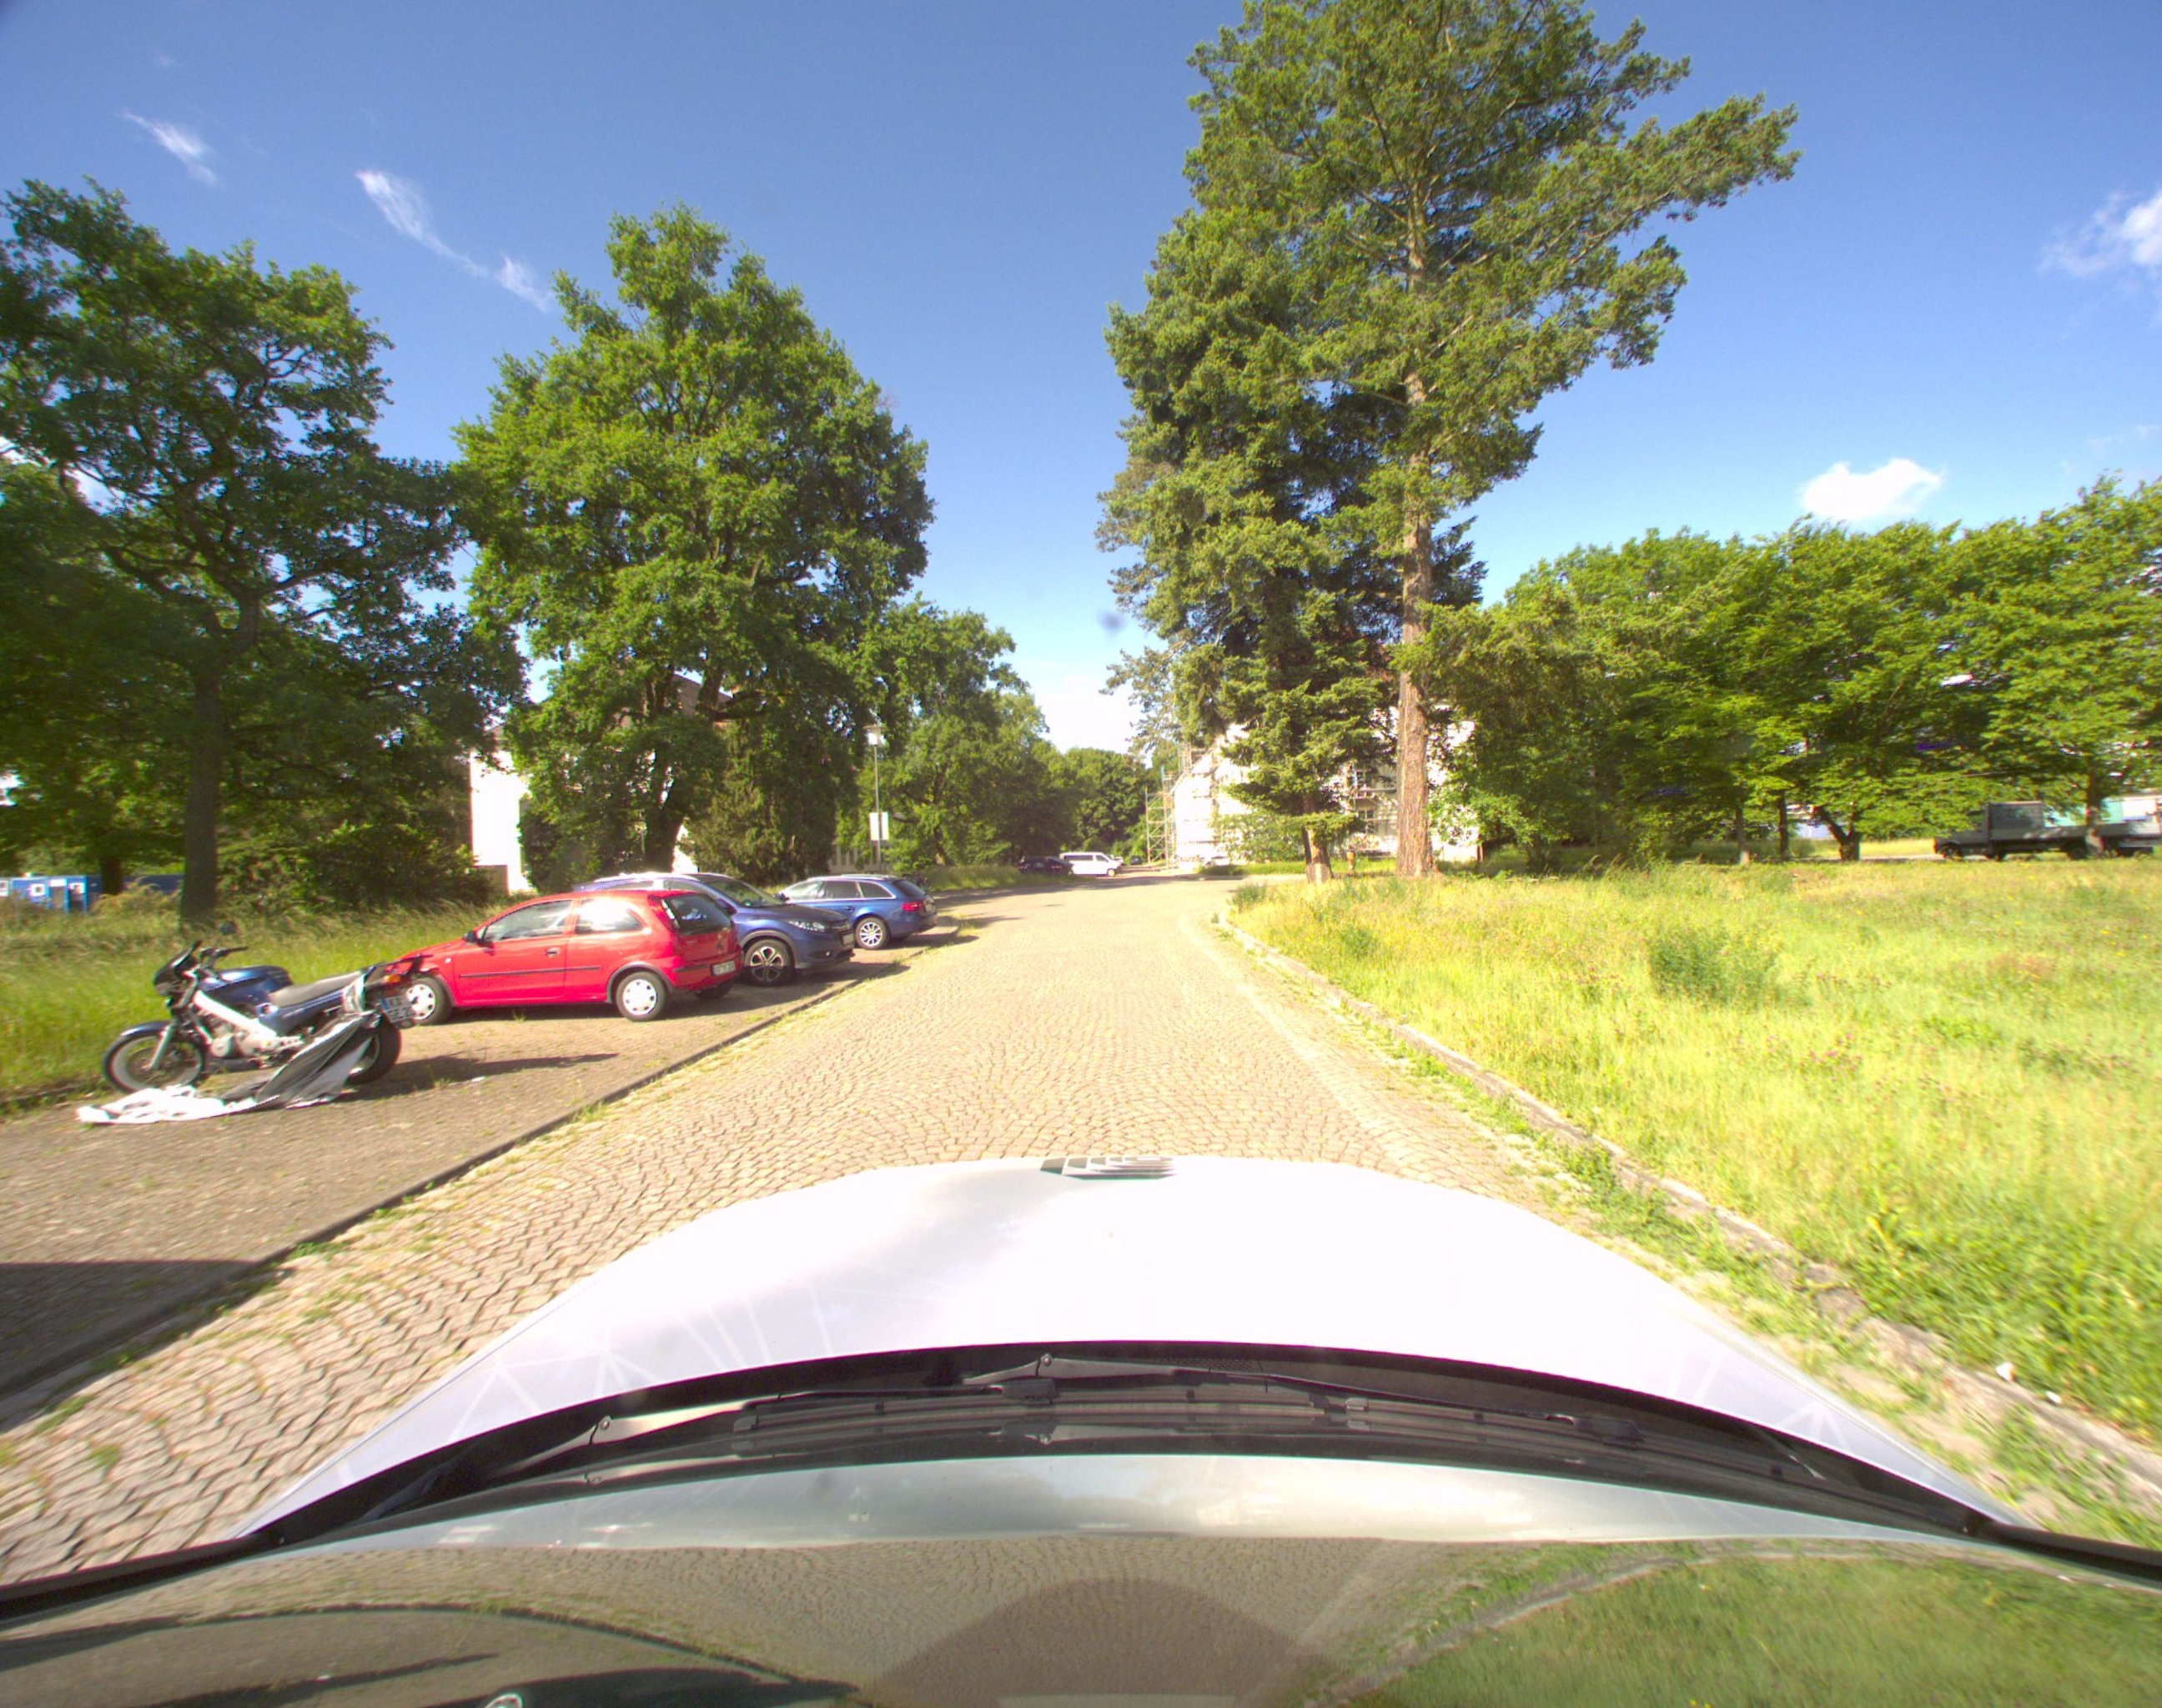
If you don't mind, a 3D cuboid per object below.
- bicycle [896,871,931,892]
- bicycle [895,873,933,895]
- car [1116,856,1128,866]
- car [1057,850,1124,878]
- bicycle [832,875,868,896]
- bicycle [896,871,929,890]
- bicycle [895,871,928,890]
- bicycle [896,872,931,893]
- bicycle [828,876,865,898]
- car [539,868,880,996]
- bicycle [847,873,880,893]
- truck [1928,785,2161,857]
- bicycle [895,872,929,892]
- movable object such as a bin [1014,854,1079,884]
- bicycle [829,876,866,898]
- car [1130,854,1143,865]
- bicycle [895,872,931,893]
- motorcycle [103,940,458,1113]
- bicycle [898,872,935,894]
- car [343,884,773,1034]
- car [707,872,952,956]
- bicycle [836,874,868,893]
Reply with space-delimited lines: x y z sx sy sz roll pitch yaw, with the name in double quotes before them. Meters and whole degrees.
"bicycle" -9.916 1.623 48.297 1.920 1.058 0.472 -5 0 -21
"bicycle" -9.296 1.679 45.374 1.924 1.058 0.472 -5 0 -27
"car" 6.559 1.125 131.405 1.805 1.579 4.136 -3 0 2
"car" 0.795 0.785 65.511 5.215 2.016 1.951 -2 -1 1
"bicycle" -13.559 1.826 47.885 1.923 1.103 0.565 -3 1 -26
"bicycle" -10.541 1.640 50.897 1.919 1.058 0.473 -5 0 -19
"bicycle" -10.702 1.652 51.369 1.919 1.058 0.473 -5 0 -19
"bicycle" -9.765 1.655 47.501 1.920 1.058 0.472 -5 0 -21
"bicycle" -13.310 1.861 46.215 1.921 1.102 0.566 -3 1 -22
"car" -5.332 1.085 12.084 4.119 1.579 1.885 -2 0 2
"bicycle" -13.446 1.794 50.268 1.917 1.103 0.567 -2 1 -17
"truck" 37.286 -1.127 31.366 2.225 2.424 6.888 -1 0 2
"bicycle" -10.184 1.669 49.118 1.919 1.058 0.473 -5 0 -19
"movable object such as a bin" -2.225 0.967 52.496 3.535 1.744 2.035 -3 -1 21
"bicycle" -13.118 1.856 45.713 1.921 1.102 0.566 -3 1 -22
"car" 8.961 0.949 131.630 1.963 1.668 4.088 -3 0 2
"bicycle" -9.682 1.643 46.935 1.920 1.058 0.472 -5 0 -21
"motorcycle" -6.160 1.312 6.314 2.232 1.162 0.577 -2 -1 3
"bicycle" -9.288 1.651 45.930 1.924 1.058 0.472 -5 0 -27
"car" -6.016 1.177 9.707 3.906 1.433 1.844 -2 0 3
"car" -5.069 1.196 16.763 4.339 1.445 1.923 -2 0 5
"bicycle" -14.554 1.865 51.766 1.920 1.103 0.566 -2 1 -22
